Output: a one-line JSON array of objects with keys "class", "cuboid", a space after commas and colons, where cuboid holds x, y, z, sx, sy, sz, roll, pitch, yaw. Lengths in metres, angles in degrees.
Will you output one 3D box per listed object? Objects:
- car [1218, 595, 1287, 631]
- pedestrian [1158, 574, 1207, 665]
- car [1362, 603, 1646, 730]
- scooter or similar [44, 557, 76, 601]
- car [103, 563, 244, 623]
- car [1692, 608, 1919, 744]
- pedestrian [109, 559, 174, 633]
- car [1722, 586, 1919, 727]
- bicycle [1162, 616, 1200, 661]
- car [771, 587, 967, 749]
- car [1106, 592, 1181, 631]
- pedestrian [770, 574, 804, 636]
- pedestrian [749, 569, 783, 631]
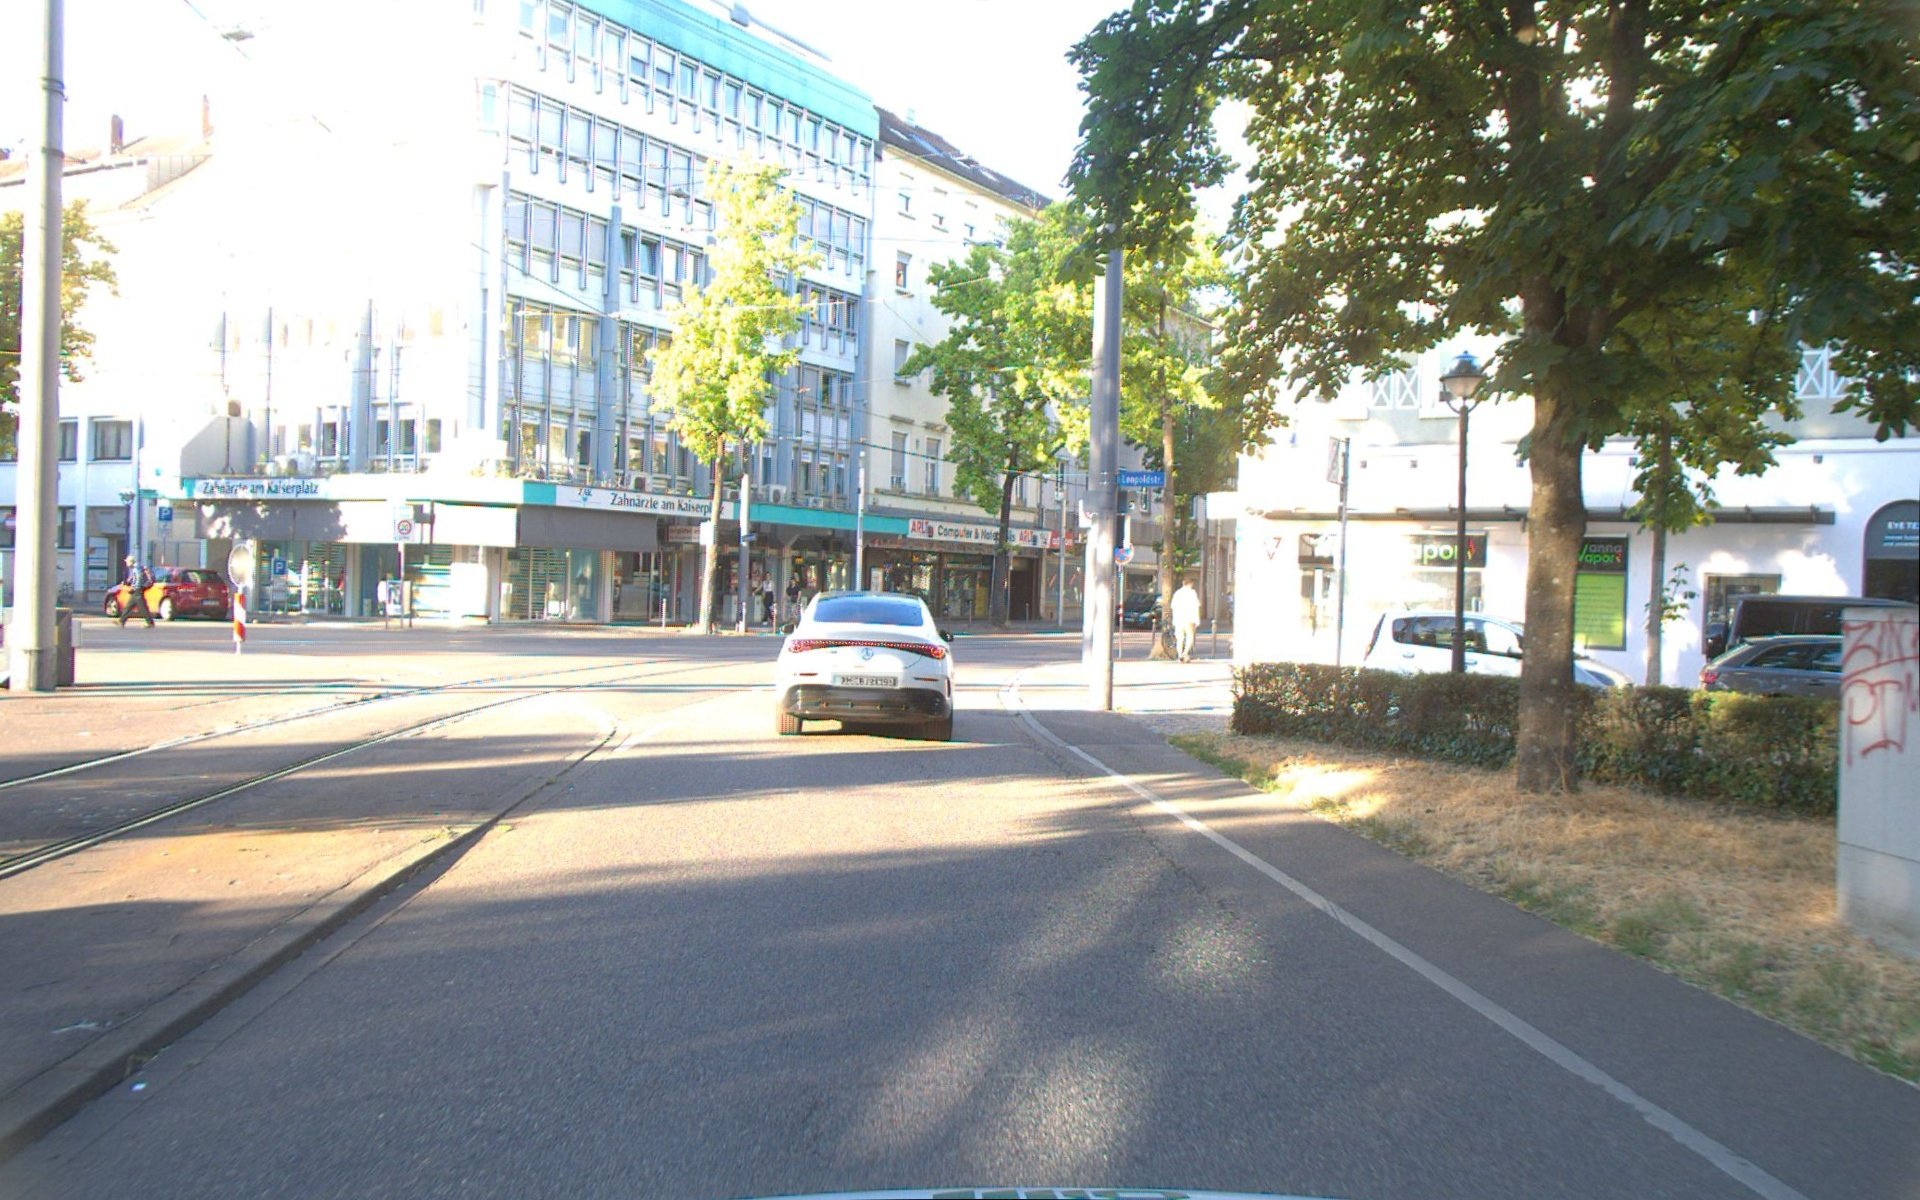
[{"class": "car", "cuboid": [15.577, 0.703, 87.878, 1.927, 1.668, 4.801, 5, 2, 31]}, {"class": "pedestrian", "cuboid": [5.130, 0.445, 38.152, 0.824, 2.049, 0.846, 2, 0, 25]}, {"class": "car", "cuboid": [7.640, 0.886, 23.270, 3.499, 1.540, 1.736, 2, 0, 30]}, {"class": "scooter or similar", "cuboid": [-30.845, -0.729, 56.699, 0.746, 1.422, 1.905, 3, 0, -34]}, {"class": "car", "cuboid": [-22.401, -0.197, 47.061, 3.922, 1.511, 2.018, 3, 0, 37]}, {"class": "car", "cuboid": [11.767, 0.962, 20.736, 4.571, 1.540, 1.736, 2, 0, 30]}, {"class": "pedestrian", "cuboid": [-19.573, -0.095, 39.538, 1.153, 1.732, 0.893, 2, -1, -42]}, {"class": "car", "cuboid": [14.195, 0.861, 25.310, 4.414, 1.998, 2.019, 2, 0, 30]}, {"class": "bicycle", "cuboid": [5.504, 0.961, 41.169, 0.347, 1.095, 1.697, 2, 0, 27]}, {"class": "car", "cuboid": [-0.923, 0.635, 17.788, 1.830, 1.494, 4.041, 2, 0, -2]}, {"class": "car", "cuboid": [8.550, 0.540, 76.749, 1.926, 1.668, 3.990, 2, 0, 31]}, {"class": "pedestrian", "cuboid": [-5.839, 0.167, 55.973, 0.782, 2.049, 0.732, 2, 0, 32]}, {"class": "pedestrian", "cuboid": [-6.594, 0.010, 56.283, 0.782, 2.049, 0.732, 2, 0, 32]}]
